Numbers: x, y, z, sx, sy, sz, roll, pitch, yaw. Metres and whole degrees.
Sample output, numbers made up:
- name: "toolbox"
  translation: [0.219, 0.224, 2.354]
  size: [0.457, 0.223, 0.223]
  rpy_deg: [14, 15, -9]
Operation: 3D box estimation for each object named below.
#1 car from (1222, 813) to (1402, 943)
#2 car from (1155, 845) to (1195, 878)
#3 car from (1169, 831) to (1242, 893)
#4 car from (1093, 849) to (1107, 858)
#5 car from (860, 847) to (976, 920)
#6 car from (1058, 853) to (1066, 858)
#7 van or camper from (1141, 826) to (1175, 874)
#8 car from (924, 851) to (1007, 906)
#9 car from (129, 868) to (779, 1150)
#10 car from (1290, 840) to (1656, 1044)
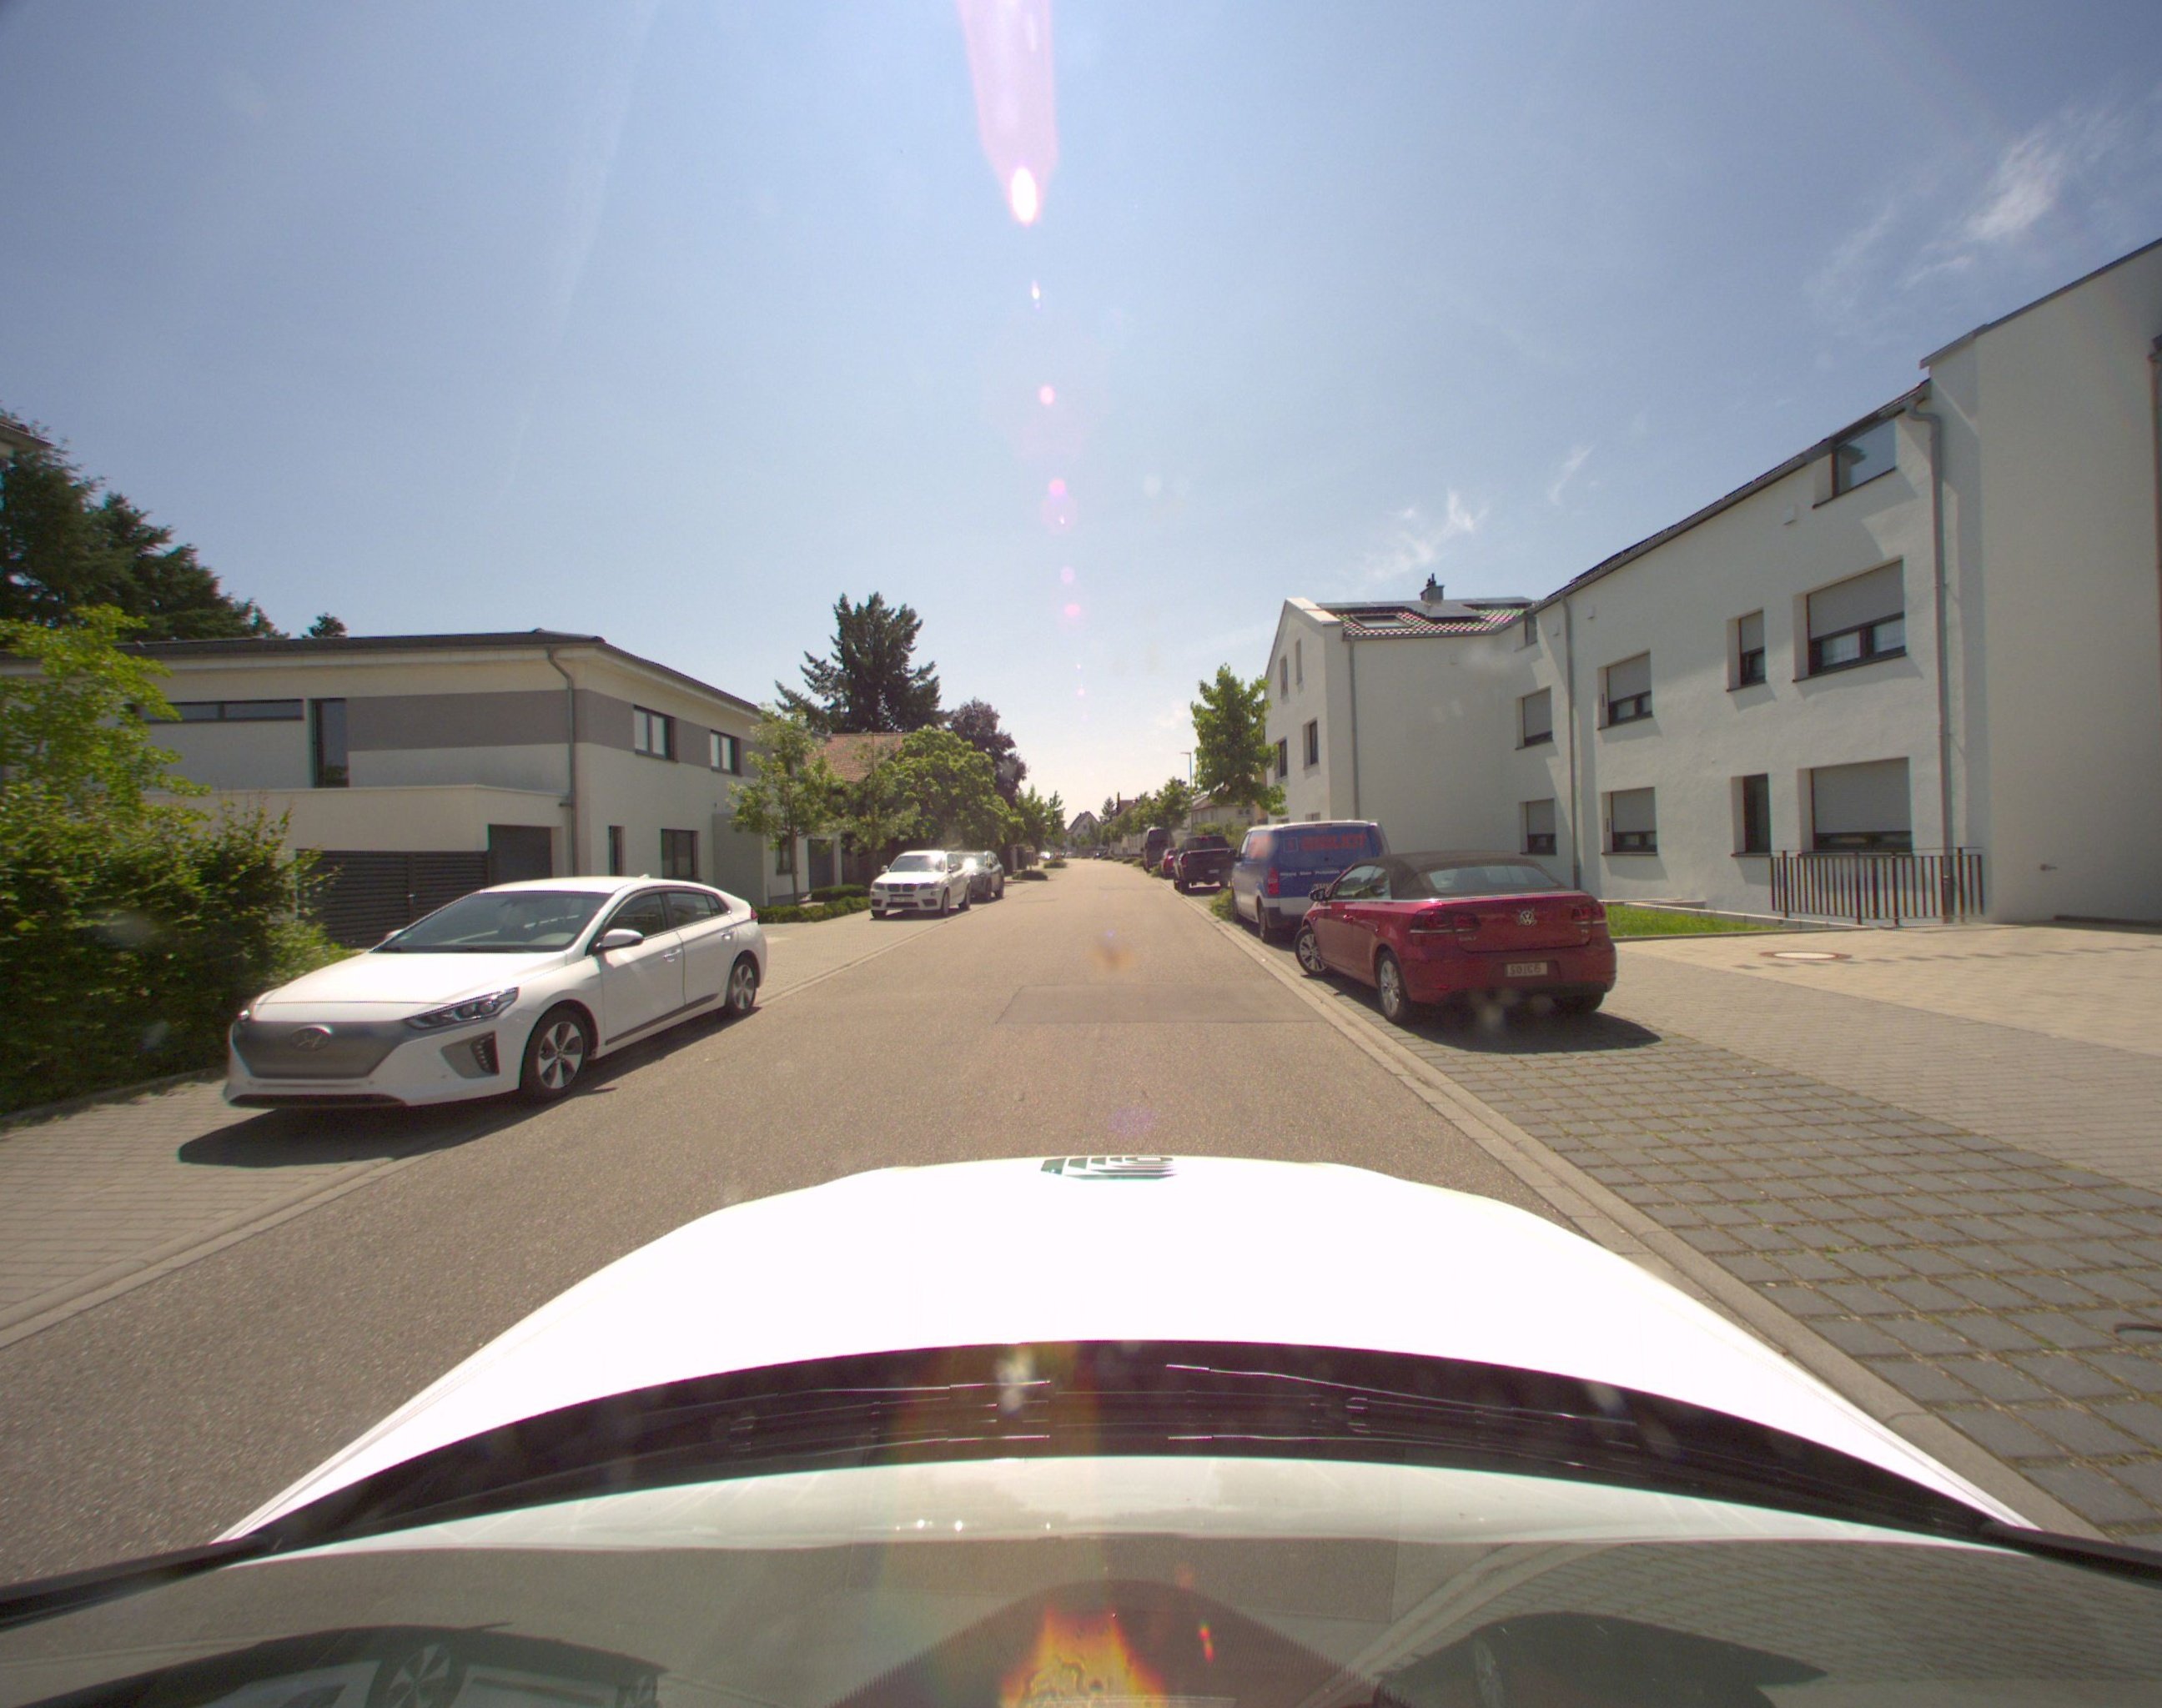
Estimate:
- name: "car"
  translation: [3.877, 0.360, 14.632]
  size: [2.090, 1.882, 4.847]
  rpy_deg: [-2, 0, 4]
- name: "car"
  translation: [4.943, 0.397, 43.014]
  size: [1.664, 1.595, 3.556]
  rpy_deg: [-2, 0, 0]
- name: "car"
  translation: [4.332, 0.254, 29.088]
  size: [1.985, 1.947, 5.218]
  rpy_deg: [-3, 0, 3]
- name: "car"
  translation: [3.405, -0.094, 148.215]
  size: [1.991, 1.574, 3.991]
  rpy_deg: [-2, 0, -6]
- name: "car"
  translation: [-4.191, 0.700, 21.712]
  size: [1.919, 1.687, 4.502]
  rpy_deg: [-2, 0, 3]
- name: "car"
  translation: [-4.912, 0.366, 209.072]
  size: [1.662, 1.250, 3.920]
  rpy_deg: [-2, 0, -8]
- name: "van or camper"
  translation: [5.059, -0.262, 53.930]
  size: [1.986, 2.941, 4.003]
  rpy_deg: [-2, 0, 2]
- name: "car"
  translation: [-3.870, 0.769, 28.051]
  size: [1.985, 1.680, 4.217]
  rpy_deg: [-2, 0, 3]
- name: "car"
  translation: [-4.357, 0.913, 6.775]
  size: [1.844, 1.488, 4.388]
  rpy_deg: [-1, 0, 3]
- name: "car"
  translation: [3.414, 0.644, 8.035]
  size: [1.674, 1.441, 4.027]
  rpy_deg: [-2, 0, 0]
